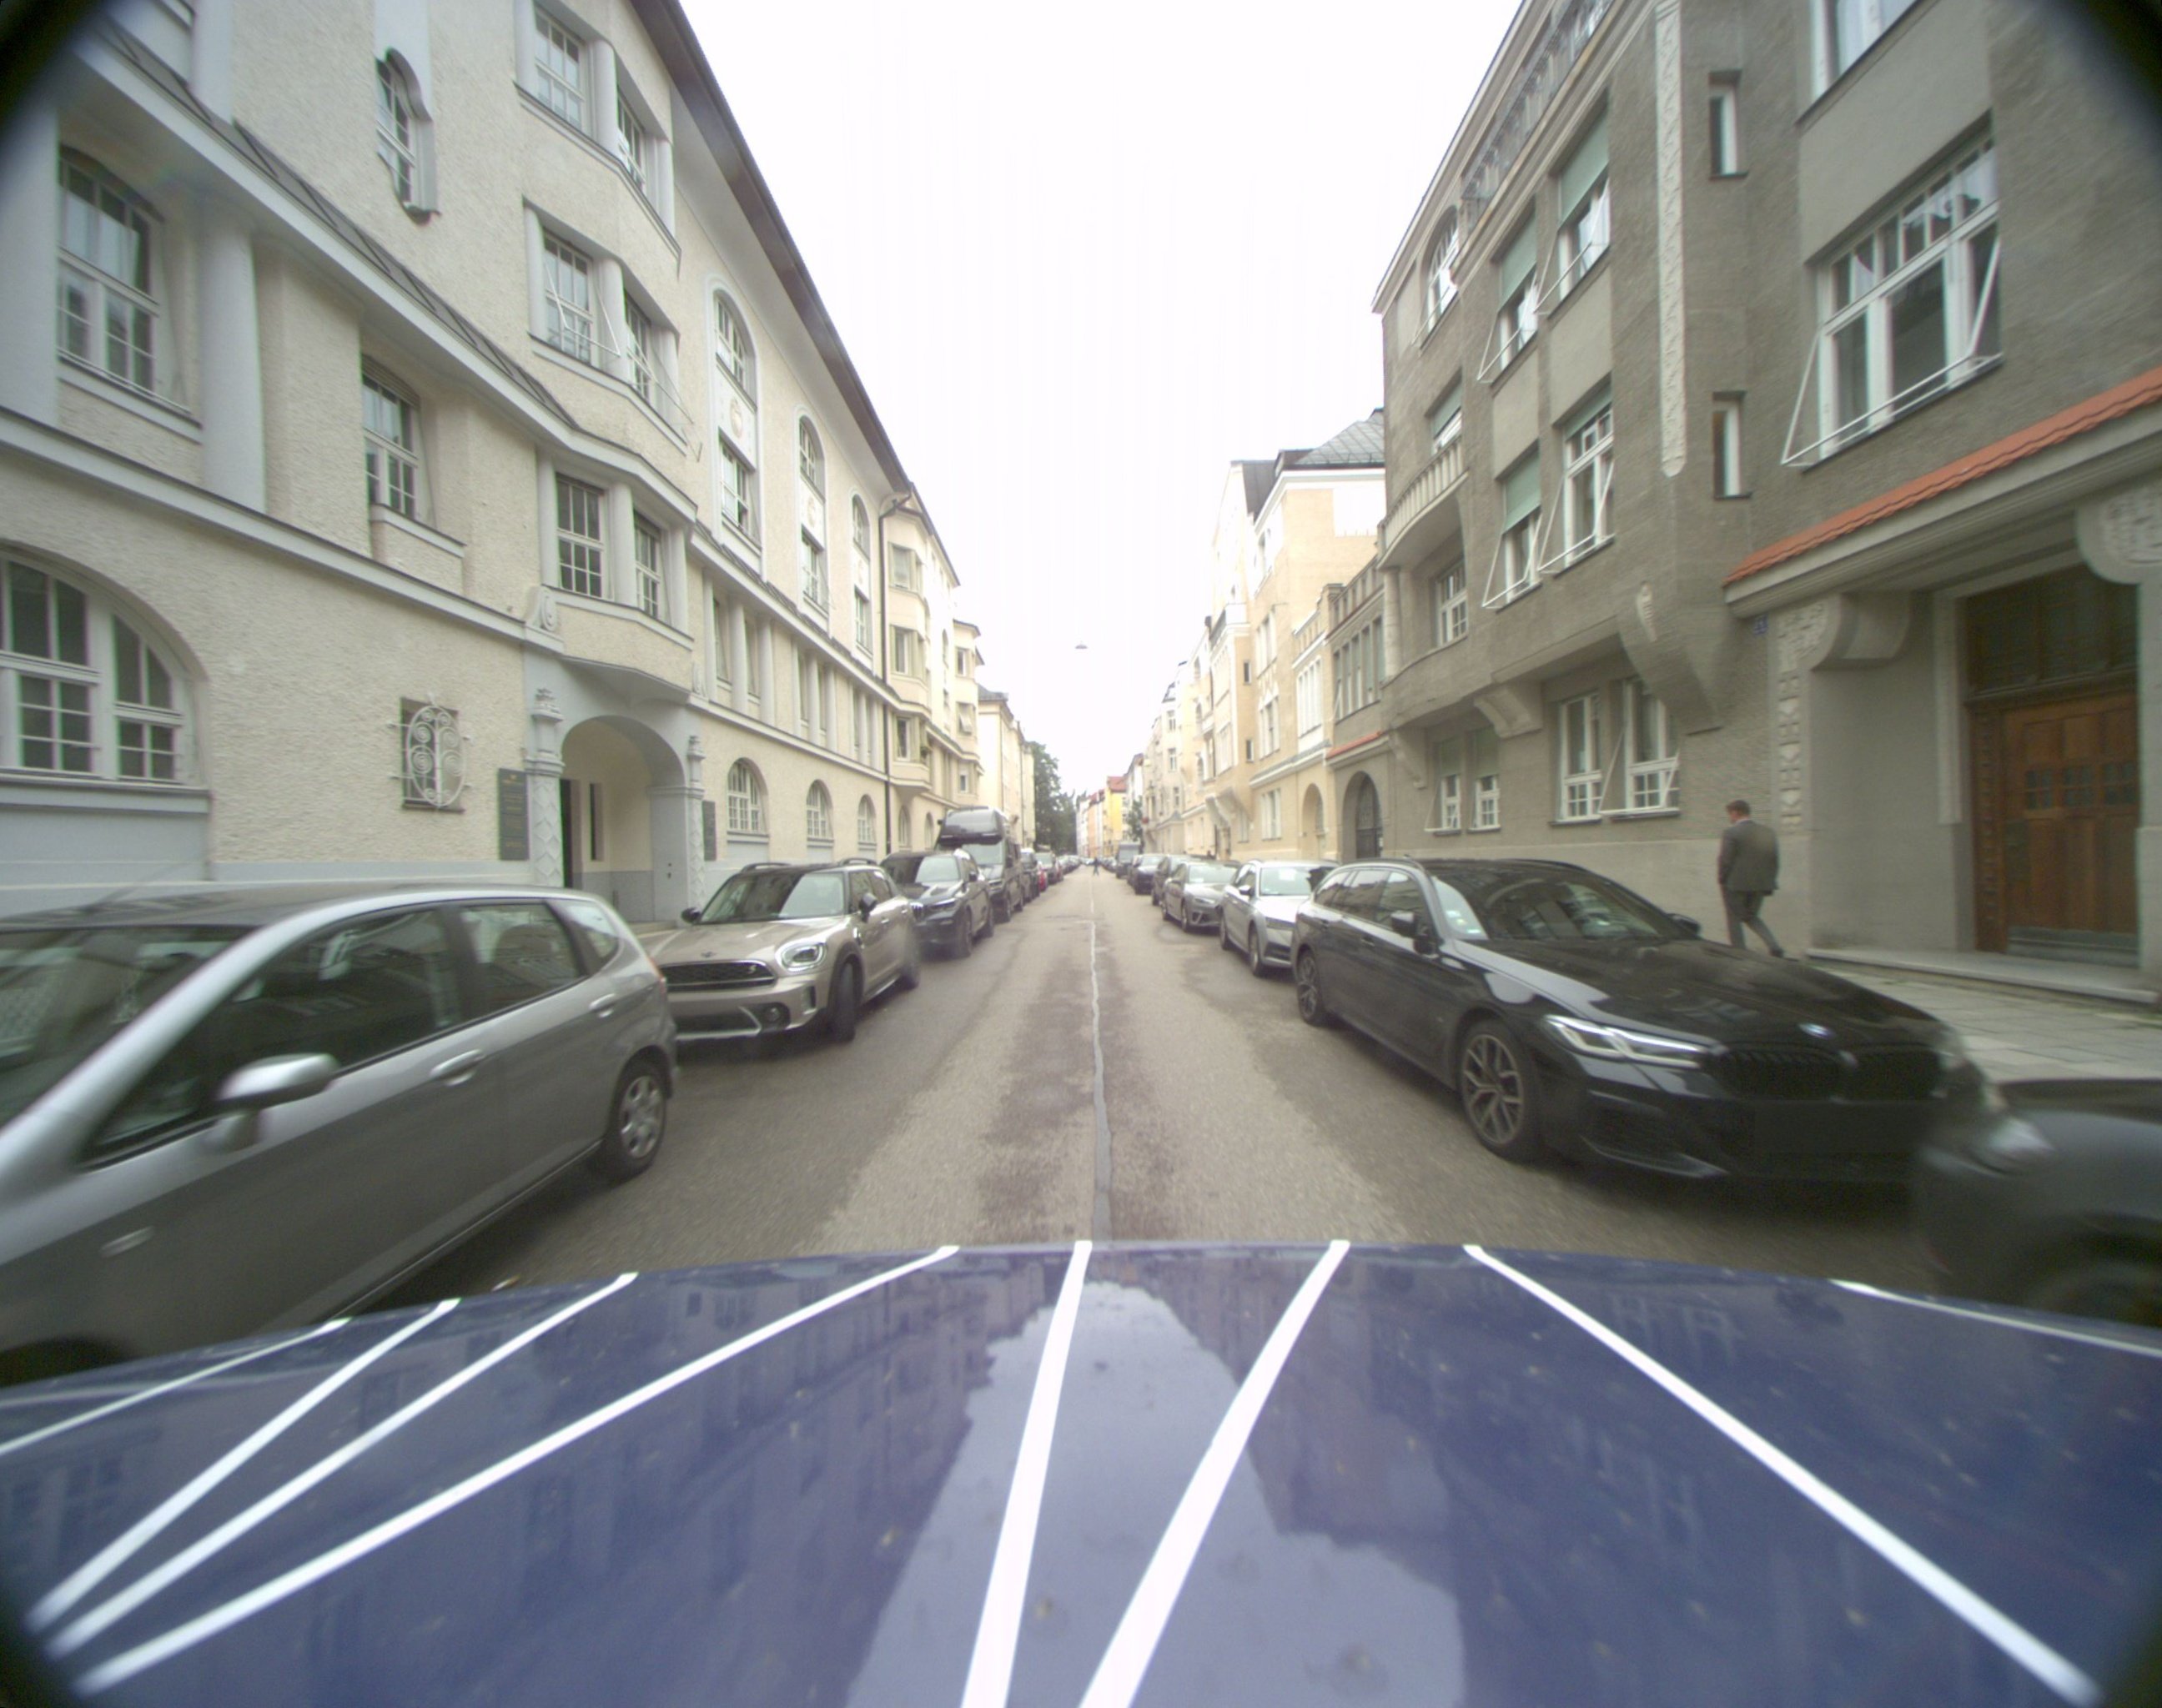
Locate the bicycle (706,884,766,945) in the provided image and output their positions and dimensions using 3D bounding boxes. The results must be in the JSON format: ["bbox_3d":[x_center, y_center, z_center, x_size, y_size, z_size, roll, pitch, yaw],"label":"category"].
[{"bbox_3d":[-7.247,1.237,16.054,0.483,1.144,1.788,1,0,-1],"label":"bicycle"}]

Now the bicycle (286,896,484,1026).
[{"bbox_3d":[-7.444,1.087,8.257,0.483,1.144,1.788,-2,0,-1],"label":"bicycle"}]

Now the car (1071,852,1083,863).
[{"bbox_3d":[-0.662,0.492,117.638,1.683,1.671,3.645,-2,0,1],"label":"car"}]

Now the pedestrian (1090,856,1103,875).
[{"bbox_3d":[1.261,0.924,62.712,1.014,1.514,0.715,-2,1,0],"label":"pedestrian"}]

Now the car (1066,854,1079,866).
[{"bbox_3d":[-1.180,0.791,103.869,1.683,1.434,3.645,-2,0,1],"label":"car"}]

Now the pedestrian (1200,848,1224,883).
[{"bbox_3d":[6.544,0.577,38.038,0.995,1.718,0.939,-2,1,0],"label":"pedestrian"}]

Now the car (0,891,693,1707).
[{"bbox_3d":[-2.964,1.012,2.371,1.638,1.528,3.854,-2,0,-3],"label":"car"}]

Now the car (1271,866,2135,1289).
[{"bbox_3d":[2.943,0.873,5.235,1.999,1.440,4.778,-1,0,-1],"label":"car"}]

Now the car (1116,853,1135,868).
[{"bbox_3d":[4.347,0.651,75.129,1.683,1.390,3.705,-2,0,1],"label":"car"}]

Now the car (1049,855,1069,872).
[{"bbox_3d":[-2.090,0.894,71.825,1.683,1.434,3.645,-2,0,1],"label":"car"}]

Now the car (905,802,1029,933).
[{"bbox_3d":[-2.843,0.257,20.680,2.260,2.943,6.131,-3,1,0],"label":"car"}]

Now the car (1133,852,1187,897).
[{"bbox_3d":[3.259,0.808,32.111,1.955,1.649,4.618,-2,0,3],"label":"car"}]

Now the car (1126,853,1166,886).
[{"bbox_3d":[3.552,0.809,42.214,1.877,1.639,4.460,-2,0,1],"label":"car"}]

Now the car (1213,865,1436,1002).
[{"bbox_3d":[3.035,0.902,10.497,1.810,1.423,4.439,0,0,2],"label":"car"}]

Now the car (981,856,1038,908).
[{"bbox_3d":[-2.414,0.923,26.112,1.546,1.616,2.815,-2,0,2],"label":"car"}]

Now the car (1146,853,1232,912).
[{"bbox_3d":[3.137,0.778,22.829,1.808,1.563,3.812,-2,0,-3],"label":"car"}]

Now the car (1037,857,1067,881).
[{"bbox_3d":[-1.948,0.979,51.988,1.731,1.458,3.737,-2,0,1],"label":"car"}]

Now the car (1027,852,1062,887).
[{"bbox_3d":[-2.232,0.906,47.065,1.880,1.925,4.662,-3,0,-1],"label":"car"}]

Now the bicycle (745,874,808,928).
[{"bbox_3d":[-7.193,1.075,18.021,0.482,1.144,1.789,-2,0,10],"label":"bicycle"}]

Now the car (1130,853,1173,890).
[{"bbox_3d":[3.384,0.829,37.193,1.736,1.633,4.102,-2,0,1],"label":"car"}]

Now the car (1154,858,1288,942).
[{"bbox_3d":[2.816,0.863,16.357,1.842,1.504,4.607,-1,0,-3],"label":"car"}]

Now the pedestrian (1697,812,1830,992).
[{"bbox_3d":[7.248,0.492,8.098,0.718,1.806,0.730,-2,1,0],"label":"pedestrian"}]

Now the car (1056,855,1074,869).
[{"bbox_3d":[-1.686,0.834,81.133,1.683,1.375,3.645,-2,0,1],"label":"car"}]

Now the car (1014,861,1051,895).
[{"bbox_3d":[-2.311,1.115,36.924,1.496,1.463,3.503,-3,0,-1],"label":"car"}]

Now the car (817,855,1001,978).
[{"bbox_3d":[-2.762,0.919,13.443,1.998,1.679,4.674,-3,0,1],"label":"car"}]

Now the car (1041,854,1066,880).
[{"bbox_3d":[-2.049,0.960,57.522,1.683,1.767,3.456,-2,0,1],"label":"car"}]

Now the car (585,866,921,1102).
[{"bbox_3d":[-2.811,0.981,7.553,1.638,1.582,3.967,-2,0,-2],"label":"car"}]

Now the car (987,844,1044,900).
[{"bbox_3d":[-2.549,0.674,30.496,1.800,2.027,4.071,-2,0,1],"label":"car"}]

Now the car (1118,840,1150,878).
[{"bbox_3d":[3.796,0.324,55.698,2.104,2.606,5.678,0,0,2],"label":"car"}]

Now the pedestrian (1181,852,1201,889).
[{"bbox_3d":[5.404,0.821,37.429,0.837,1.779,0.741,-2,1,1],"label":"pedestrian"}]

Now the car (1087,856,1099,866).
[{"bbox_3d":[2.184,1.302,140.540,1.999,1.788,3.999,-2,0,-3],"label":"car"}]

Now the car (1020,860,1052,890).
[{"bbox_3d":[-2.382,1.098,40.999,1.496,1.463,3.675,-3,0,-1],"label":"car"}]
